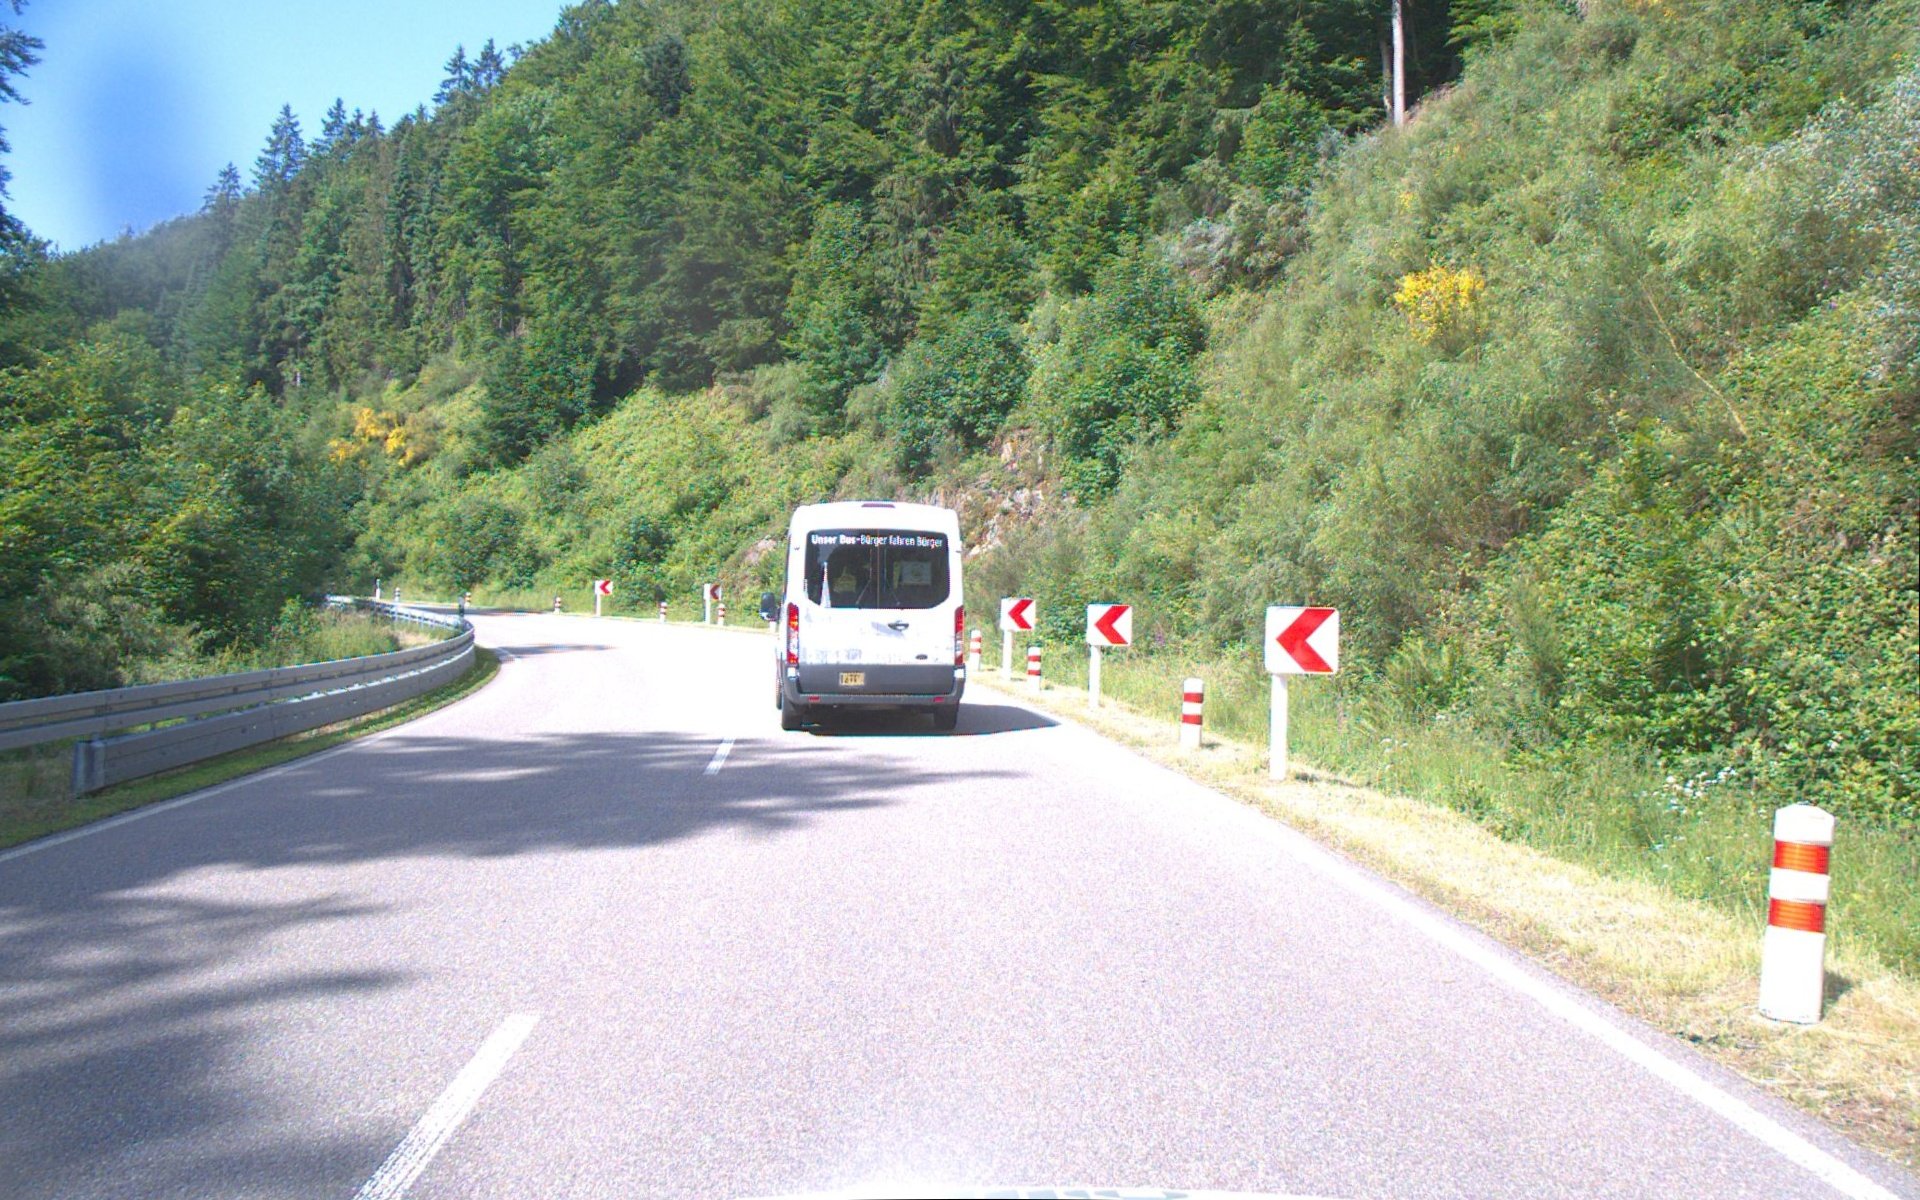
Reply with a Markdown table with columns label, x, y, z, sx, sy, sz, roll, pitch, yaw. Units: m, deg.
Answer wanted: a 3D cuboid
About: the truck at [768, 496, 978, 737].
| label | x | y | z | sx | sy | sz | roll | pitch | yaw |
| --- | --- | --- | --- | --- | --- | --- | --- | --- | --- |
| truck | -1.177 | 0.165 | 19.743 | 2.045 | 2.502 | 4.865 | 0 | 0 | -8 |
